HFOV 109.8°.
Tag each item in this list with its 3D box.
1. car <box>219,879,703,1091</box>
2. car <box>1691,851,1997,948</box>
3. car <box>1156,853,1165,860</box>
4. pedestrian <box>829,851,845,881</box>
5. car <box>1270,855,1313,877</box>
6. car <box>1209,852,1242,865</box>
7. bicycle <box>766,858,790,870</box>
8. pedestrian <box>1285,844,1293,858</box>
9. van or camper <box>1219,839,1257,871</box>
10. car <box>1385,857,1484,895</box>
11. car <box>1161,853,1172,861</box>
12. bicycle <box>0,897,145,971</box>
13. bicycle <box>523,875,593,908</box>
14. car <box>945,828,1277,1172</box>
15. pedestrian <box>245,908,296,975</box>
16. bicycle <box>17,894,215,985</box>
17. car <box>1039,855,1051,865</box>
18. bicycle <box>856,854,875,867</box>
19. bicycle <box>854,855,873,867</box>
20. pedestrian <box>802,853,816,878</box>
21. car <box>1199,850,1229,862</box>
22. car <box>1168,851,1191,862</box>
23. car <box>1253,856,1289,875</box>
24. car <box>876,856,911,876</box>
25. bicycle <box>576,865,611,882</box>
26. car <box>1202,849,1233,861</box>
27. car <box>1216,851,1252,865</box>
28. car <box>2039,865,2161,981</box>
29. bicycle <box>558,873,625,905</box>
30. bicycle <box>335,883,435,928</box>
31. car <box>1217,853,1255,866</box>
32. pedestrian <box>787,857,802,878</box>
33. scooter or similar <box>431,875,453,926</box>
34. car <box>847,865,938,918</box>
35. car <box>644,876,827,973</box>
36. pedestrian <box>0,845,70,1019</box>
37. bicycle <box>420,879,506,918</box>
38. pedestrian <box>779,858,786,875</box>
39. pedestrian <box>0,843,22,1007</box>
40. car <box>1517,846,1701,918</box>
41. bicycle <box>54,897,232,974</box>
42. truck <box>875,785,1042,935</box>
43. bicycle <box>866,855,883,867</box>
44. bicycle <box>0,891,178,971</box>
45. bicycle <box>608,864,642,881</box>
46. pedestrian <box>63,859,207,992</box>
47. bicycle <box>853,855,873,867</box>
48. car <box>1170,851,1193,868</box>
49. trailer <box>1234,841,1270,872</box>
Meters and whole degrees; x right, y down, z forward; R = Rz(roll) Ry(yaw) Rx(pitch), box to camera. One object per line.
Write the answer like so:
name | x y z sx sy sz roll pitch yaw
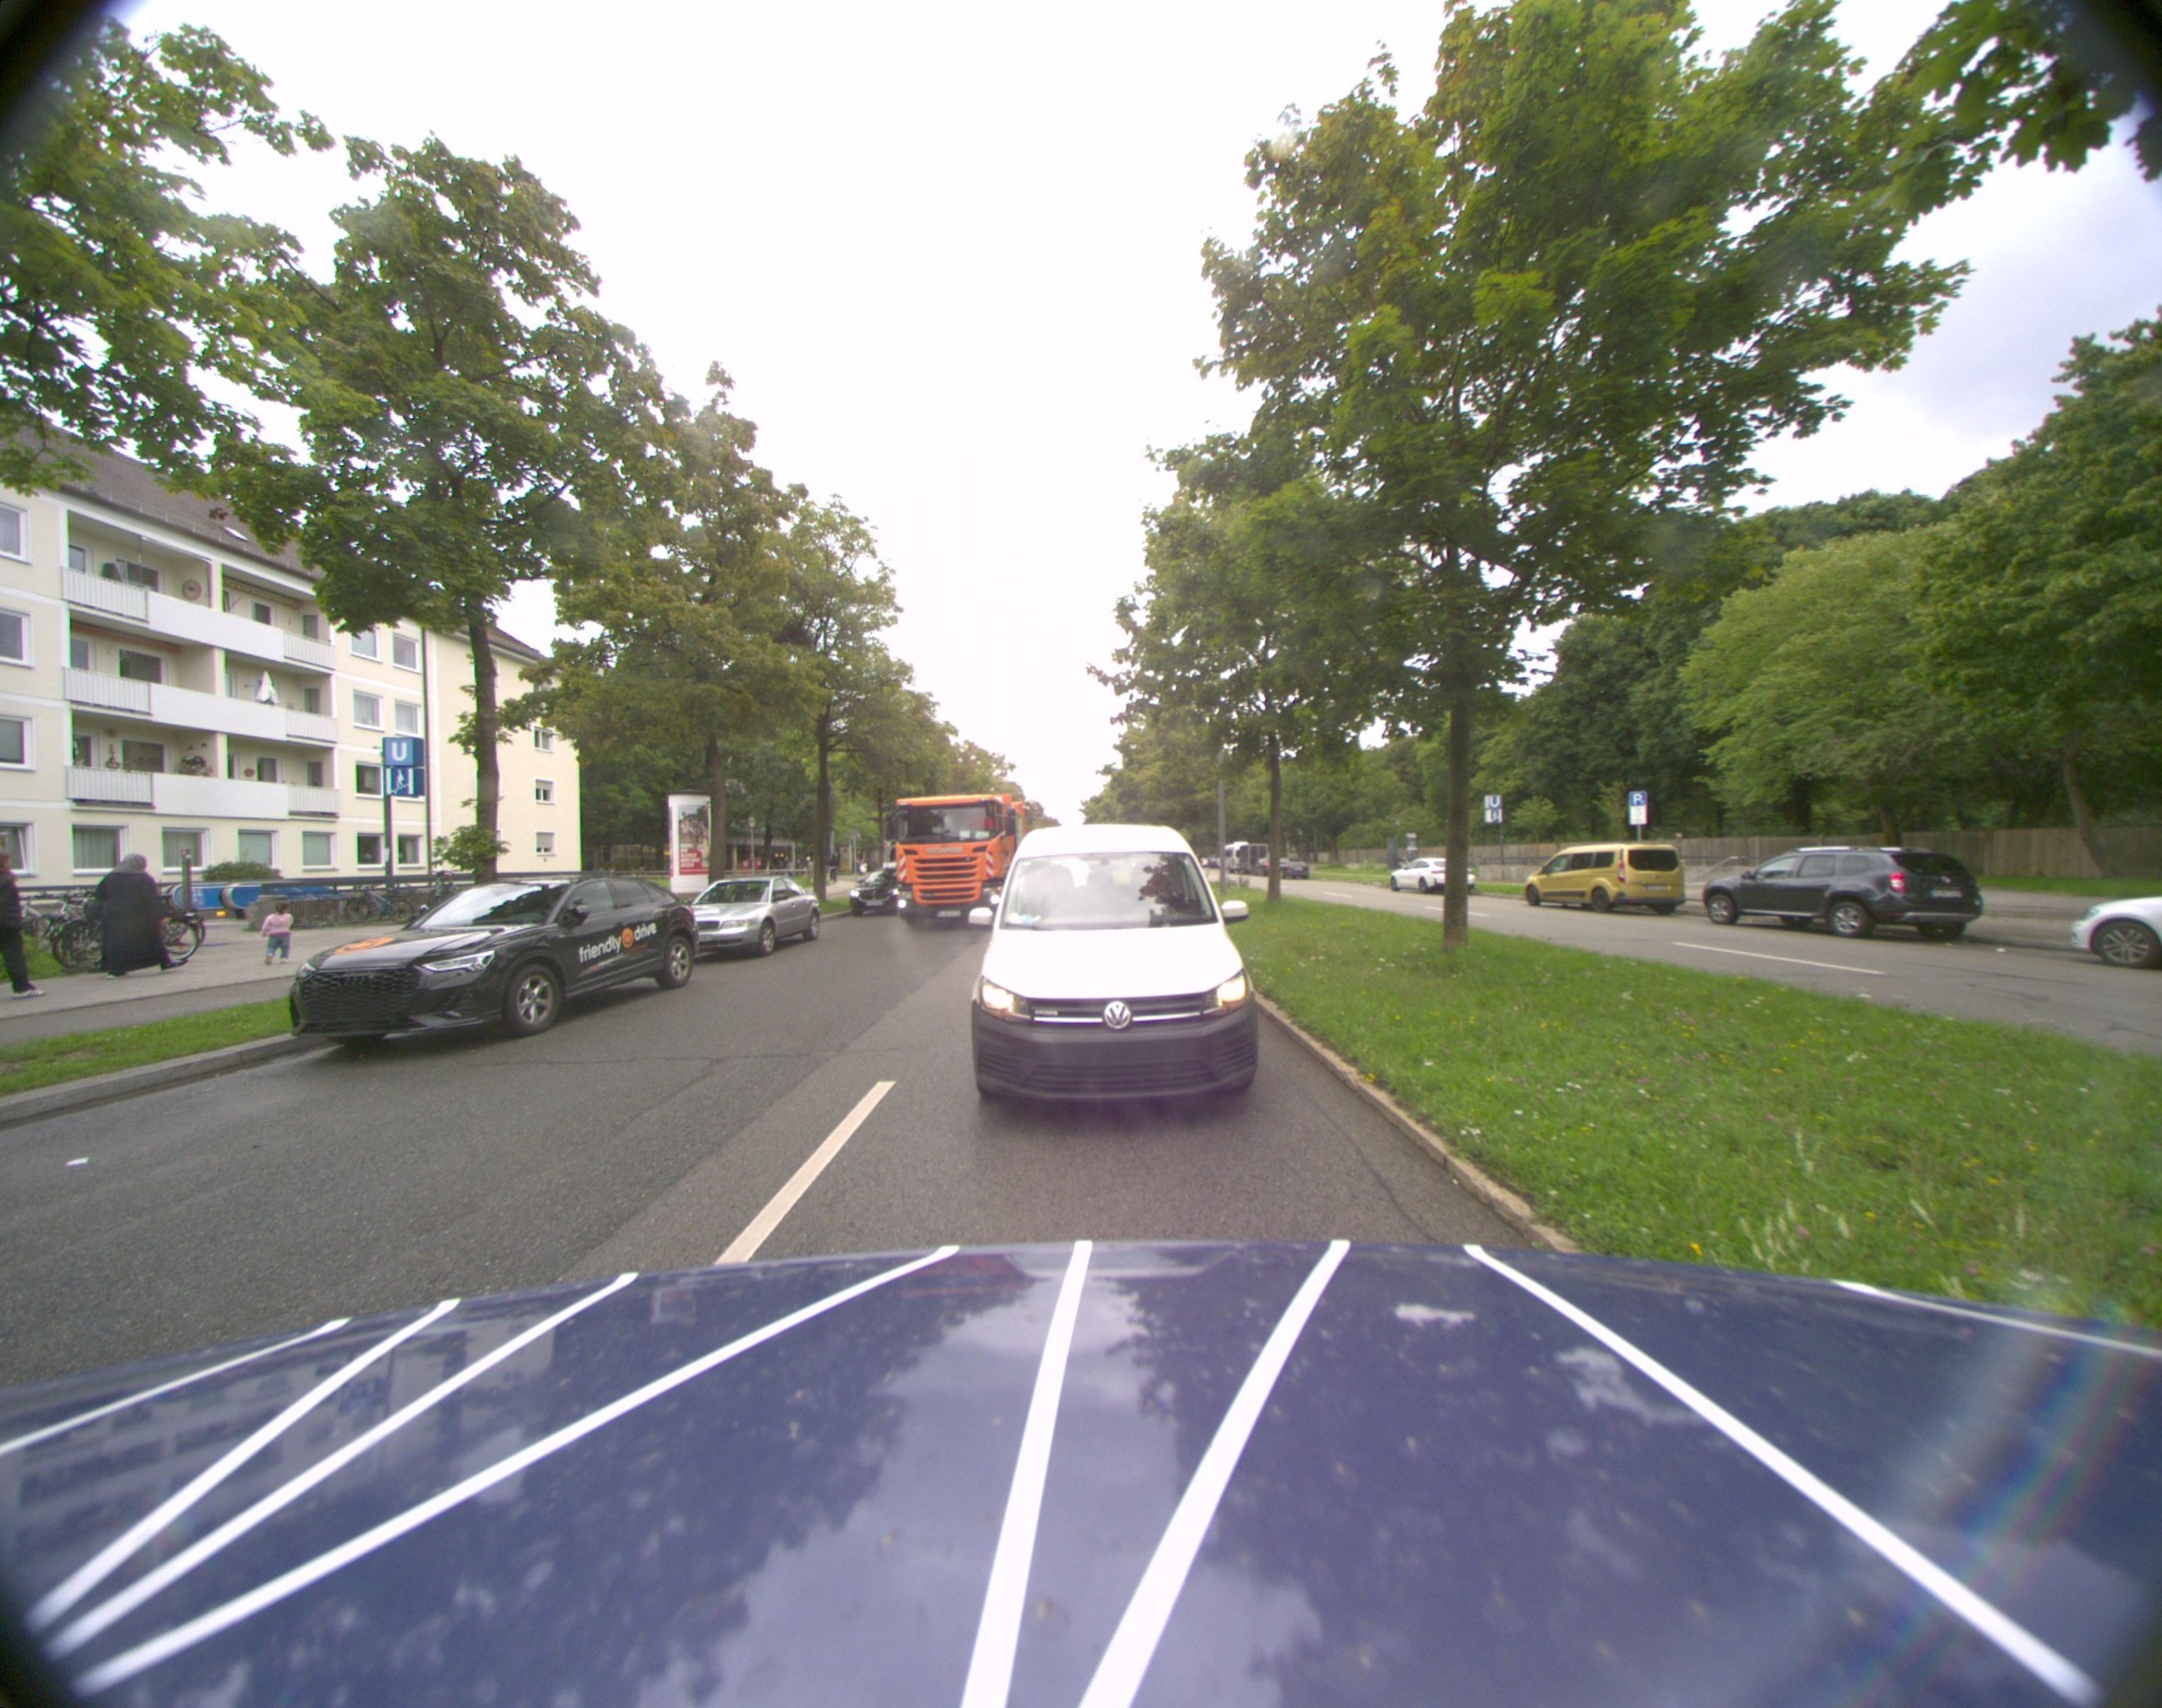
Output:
car | -6.132 1.144 8.348 1.721 1.524 4.275 -2 0 0
car | 14.631 0.770 14.994 1.741 1.636 4.255 0 0 0
car | 17.101 0.485 163.806 1.889 1.435 4.169 -2 1 4
pedestrian | -14.181 0.709 44.127 0.641 1.739 0.849 1 0 -1
car | 14.577 0.823 52.891 1.805 1.417 4.431 0 0 0
car | 18.523 0.565 97.377 4.006 1.477 1.797 -3 0 -34
bicycle | -29.122 0.969 73.080 2.080 1.114 0.455 -1 1 0
pedestrian | 27.038 -0.422 98.798 0.770 1.757 0.873 0 1 -3
van or camper | 14.664 0.104 71.217 2.040 2.821 7.546 0 0 0
car | 14.729 0.861 31.983 1.861 1.464 4.874 0 0 0
car | 17.121 0.631 151.924 1.889 1.435 4.169 -2 1 4
bicycle | -16.646 1.266 12.377 0.432 1.022 1.884 0 0 1
bicycle | -16.595 1.177 24.115 1.882 1.022 0.432 0 1 -3
car | 0.133 0.775 6.368 1.750 1.807 4.667 -1 0 -1
pedestrian | -12.146 1.300 11.388 0.434 0.944 0.409 0 1 29
bicycle | -13.823 1.177 10.977 0.432 1.127 1.884 0 0 1
car | -5.724 1.018 122.125 1.735 1.498 4.441 -2 0 -1
bicycle | -28.840 0.882 101.809 2.313 1.613 0.649 -1 1 0
bicycle | -28.869 0.938 100.907 2.313 1.613 0.649 -1 1 0
pedestrian | -19.291 0.837 53.832 0.600 1.720 0.642 -2 1 20
car | 19.241 0.310 109.715 4.005 1.446 1.737 -3 0 -27
car | 18.328 0.462 140.749 4.006 1.718 1.777 -2 1 -34
car | 14.789 0.848 59.267 1.805 1.376 4.238 0 0 0
car | -16.113 1.032 65.532 1.826 1.624 4.198 0 0 2
bicycle | -28.840 1.157 44.960 1.696 0.965 0.455 -1 0 -3
car | 19.172 0.202 106.665 4.005 1.455 1.888 -3 0 -27
car | 19.033 0.553 94.393 4.331 1.564 1.797 -2 1 -34
car | 14.595 0.891 8.598 1.767 1.441 4.532 0 0 0
bicycle | -16.442 1.165 25.537 1.883 1.022 0.432 0 1 -8
bicycle | -16.513 1.211 18.049 1.882 1.022 0.432 0 1 -3
car | 18.535 0.646 90.735 4.331 1.430 1.797 -2 1 -34
pedestrian | -22.016 1.038 58.392 0.779 1.565 0.581 -2 1 20
scooter or similar | -15.927 1.141 18.932 0.359 1.193 1.386 -1 1 -42
car | -6.002 1.144 24.714 1.755 1.457 4.176 -2 0 1
car | -6.278 1.204 14.390 1.640 1.378 4.243 -2 0 -3
pedestrian | -11.968 0.844 8.293 0.589 1.879 0.902 -1 1 -1
bicycle | -16.626 1.192 20.461 1.882 1.022 0.432 0 1 -3
pedestrian | -27.639 1.160 70.350 0.633 1.533 0.659 1 1 -24
pedestrian | -12.725 0.820 8.382 0.731 1.879 0.919 0 1 -1
car | 14.432 0.697 21.189 1.819 1.772 4.818 0 0 1
bicycle | -14.714 1.239 12.007 0.432 1.022 1.884 0 0 1
truck | -2.896 0.127 21.076 3.046 3.170 9.132 -2 0 0
bicycle | -28.978 0.949 106.677 2.316 1.613 0.648 -1 1 -16
bicycle | -15.944 1.198 12.277 0.432 1.095 1.884 0 0 1
bicycle | -27.057 1.101 45.095 1.696 0.965 0.455 -1 0 -3
pedestrian | -12.672 0.920 10.218 0.841 1.671 0.834 -1 1 -12
bicycle | -28.670 0.939 99.900 2.313 1.523 0.649 -1 1 0
car | 11.317 0.600 85.719 1.804 1.922 4.993 0 1 -1
trailer | 14.611 0.226 65.163 2.022 2.575 4.658 0 0 0
